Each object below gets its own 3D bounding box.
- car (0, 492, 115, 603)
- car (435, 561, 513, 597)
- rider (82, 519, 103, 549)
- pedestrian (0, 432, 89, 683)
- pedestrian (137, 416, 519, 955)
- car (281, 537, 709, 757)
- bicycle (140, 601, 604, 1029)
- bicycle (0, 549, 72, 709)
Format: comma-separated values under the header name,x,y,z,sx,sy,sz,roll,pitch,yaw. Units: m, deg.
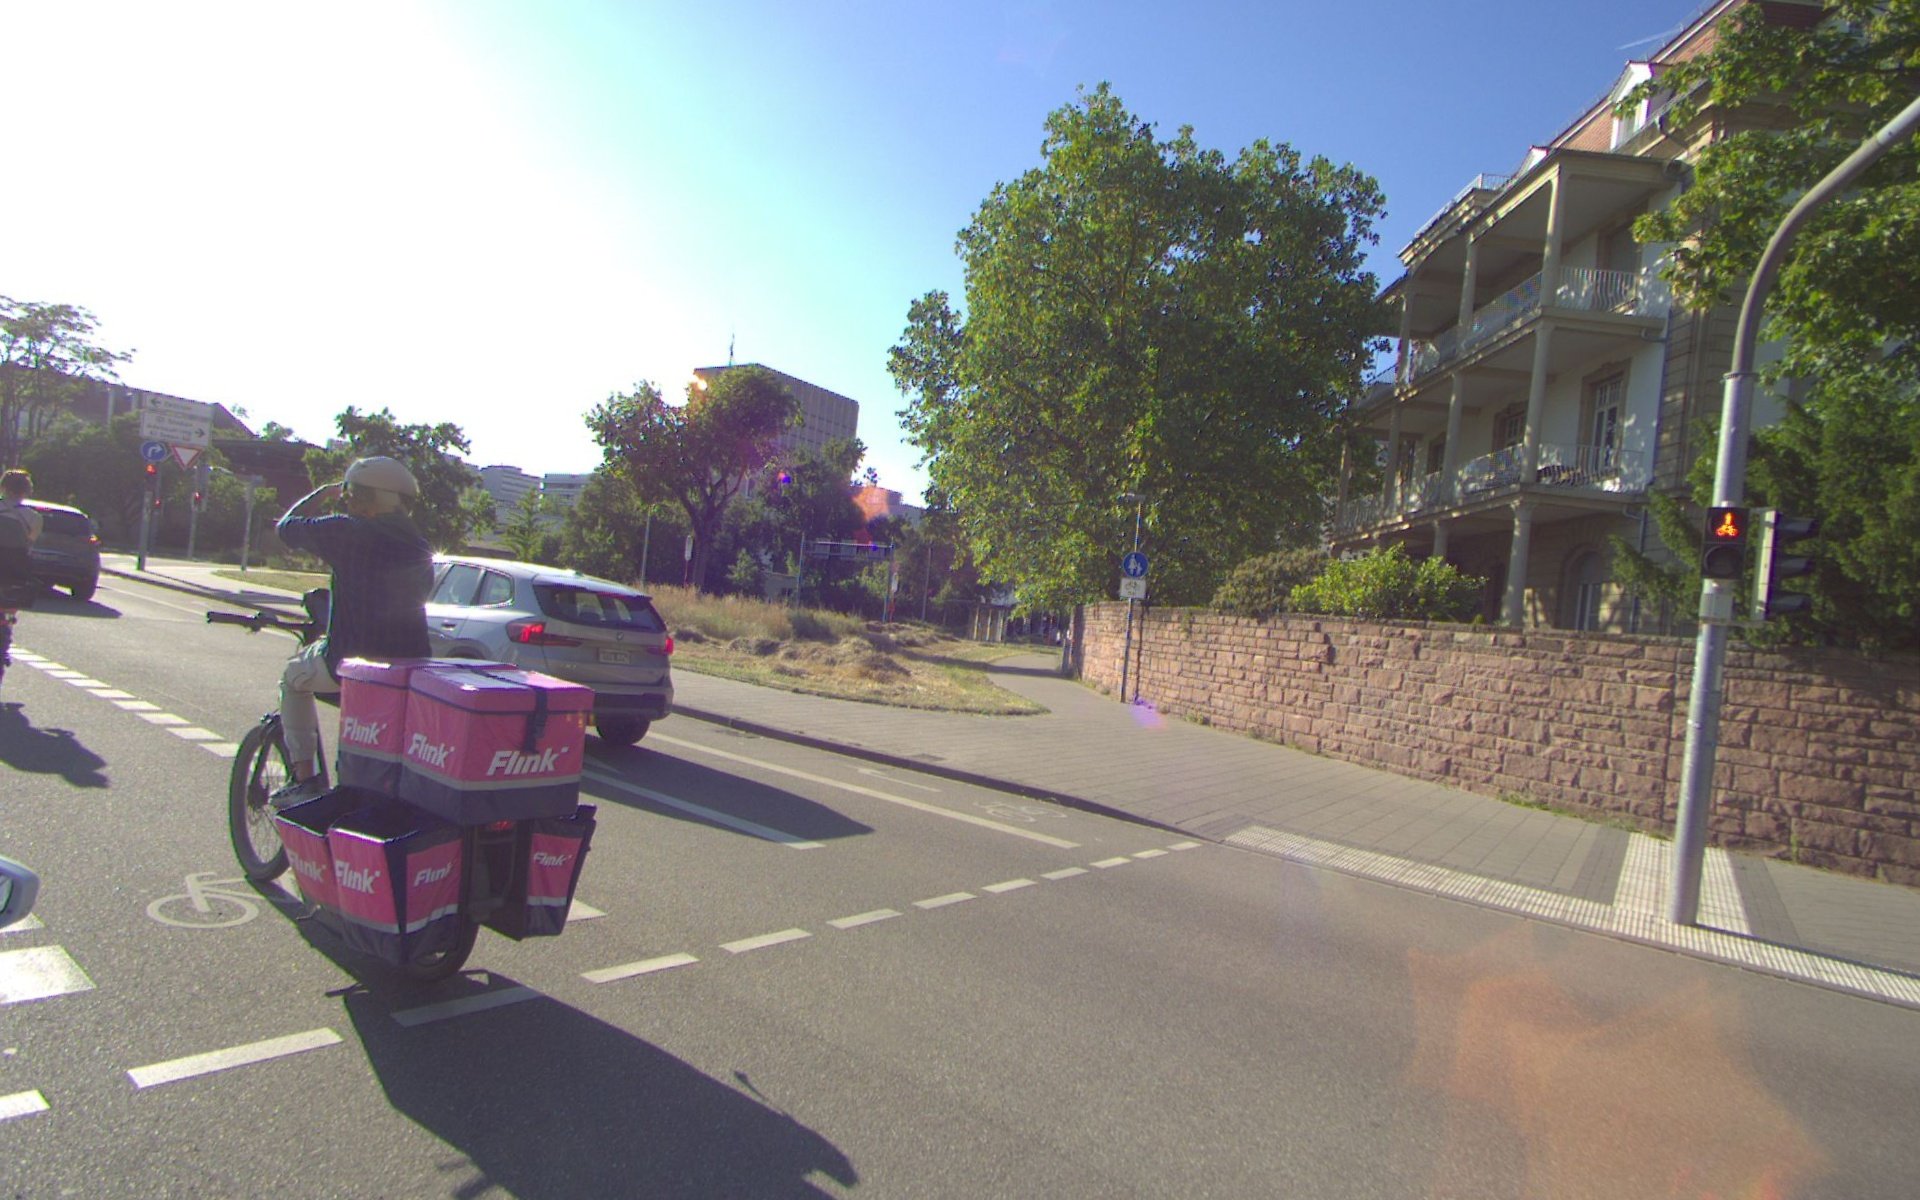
name,x,y,z,sx,sy,sz,roll,pitch,yaw
car,-17.549,-1.031,18.619,4.303,1.708,1.833,5,-3,37
car,-28.190,-1.199,58.425,1.629,1.579,3.629,6,-1,45
rider,-49.493,-3.746,57.399,0.749,1.616,0.583,8,-3,-42
pedestrian,-7.612,-0.338,8.029,0.859,1.890,0.659,5,-2,37
pedestrian,-2.558,0.302,4.109,0.941,1.890,0.808,5,-2,32
car,-4.722,0.400,10.009,4.261,1.612,1.789,5,-3,34
bicycle,-2.454,0.699,4.035,2.335,1.184,0.555,5,-3,35
bicycle,-7.831,0.168,8.120,1.921,1.164,0.564,4,-3,39
